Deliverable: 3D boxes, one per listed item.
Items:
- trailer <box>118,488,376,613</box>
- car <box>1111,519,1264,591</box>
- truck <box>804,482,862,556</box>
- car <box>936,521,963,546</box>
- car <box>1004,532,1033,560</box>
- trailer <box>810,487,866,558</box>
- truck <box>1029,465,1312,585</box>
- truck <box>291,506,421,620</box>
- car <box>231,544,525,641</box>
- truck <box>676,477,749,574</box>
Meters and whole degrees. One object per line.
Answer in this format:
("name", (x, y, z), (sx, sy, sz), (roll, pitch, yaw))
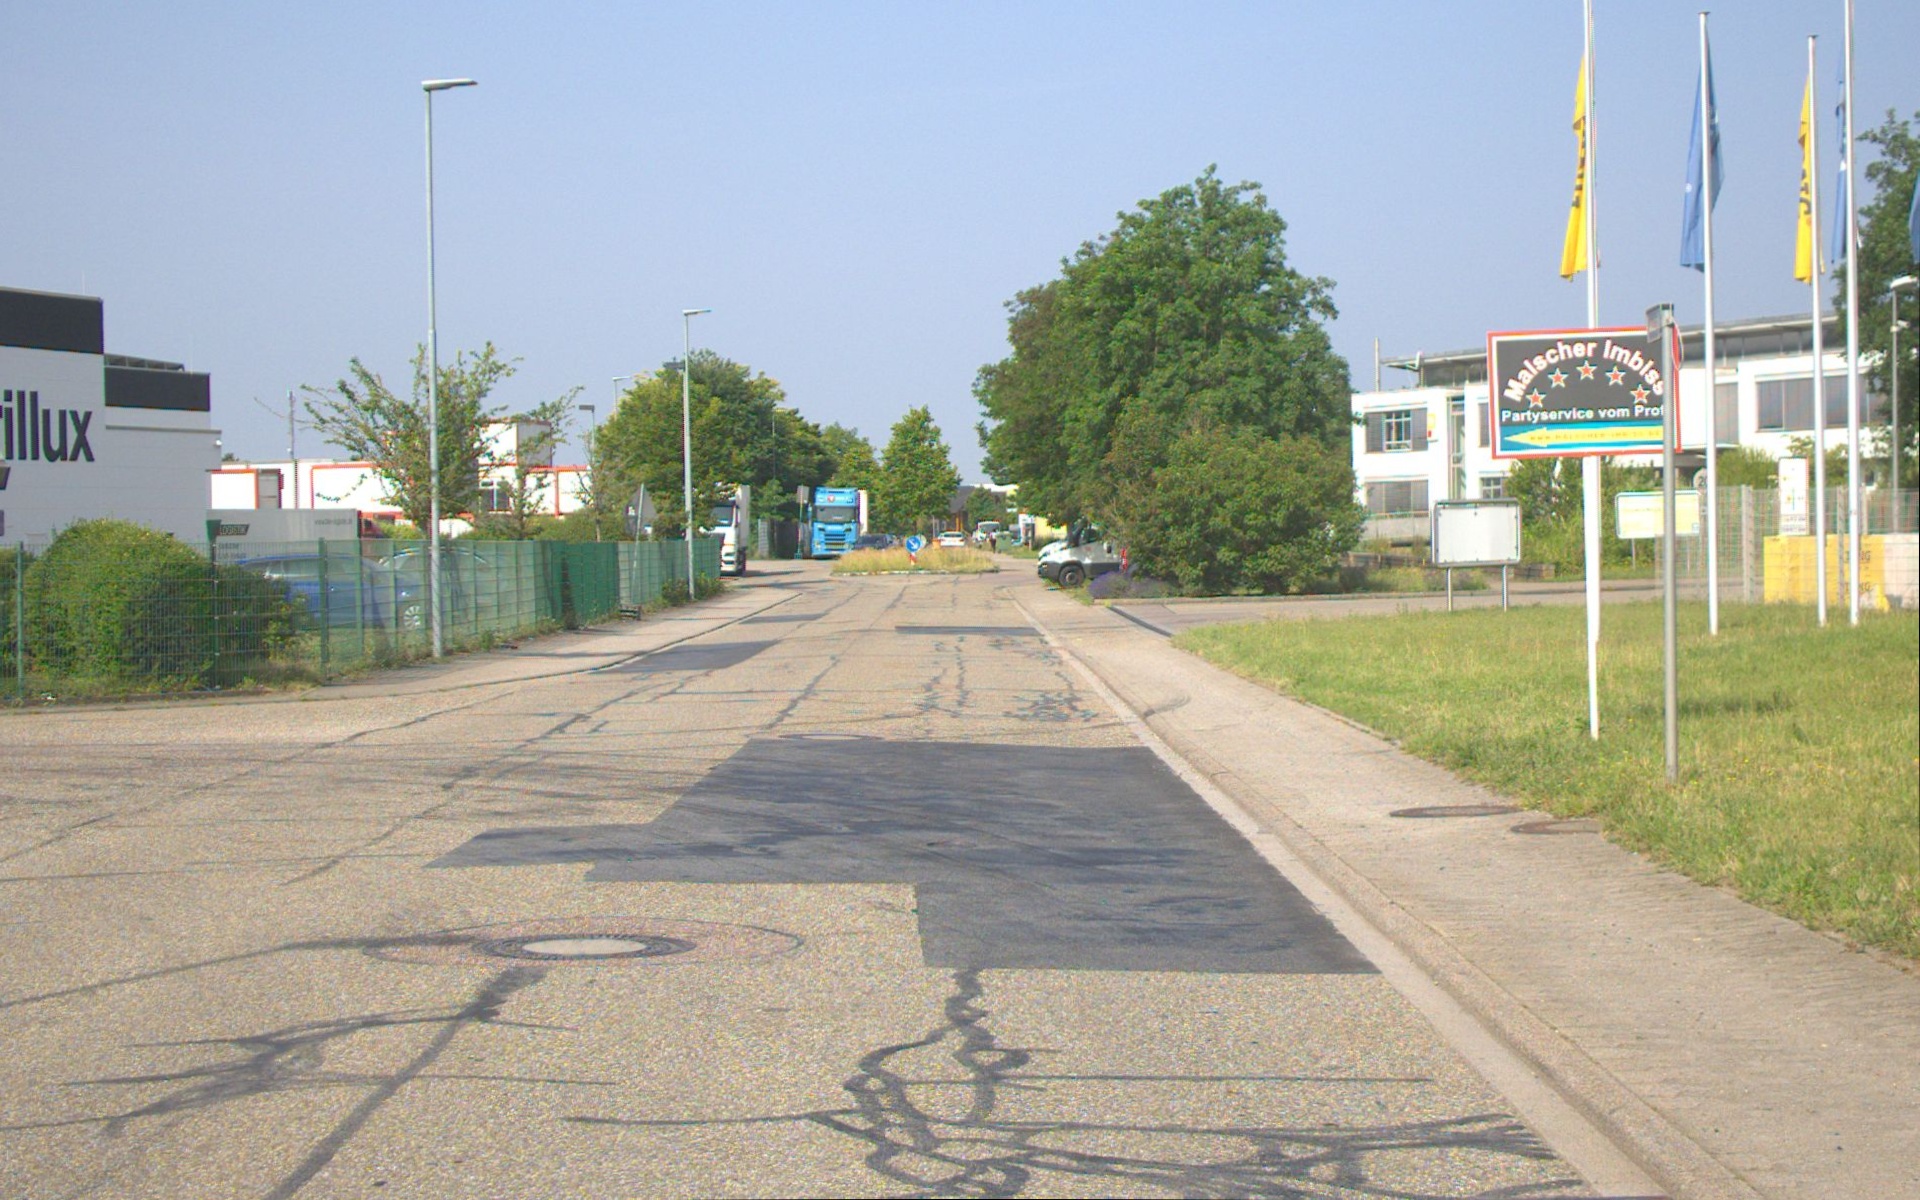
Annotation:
("trailer", (-24.159, -1.587, 117.642), (2.484, 4.028, 13.878), (1, 0, 16))
("car", (6.085, -1.205, 92.490), (3.987, 1.831, 2.000), (-1, 1, 1))
("truck", (-6.866, -4.355, 187.228), (2.825, 3.812, 9.673), (1, 0, 0))
("car", (-0.754, -4.650, 239.244), (1.718, 1.655, 3.824), (1, 0, -2))
("car", (3.886, -3.562, 227.910), (1.792, 1.744, 4.000), (1, 0, -1))
("trailer", (-6.962, -4.385, 197.274), (2.831, 3.830, 12.036), (1, 0, 0))
("truck", (6.263, -2.226, 103.117), (8.208, 3.359, 2.741), (-1, 0, -1))
("truck", (-22.001, -1.317, 125.451), (2.515, 4.057, 5.539), (1, 0, 15))
("car", (-10.026, -0.142, 59.465), (4.685, 1.439, 2.078), (-2, 1, 0))
("truck", (-10.283, -3.057, 142.936), (2.708, 3.908, 4.297), (1, 0, -1))
